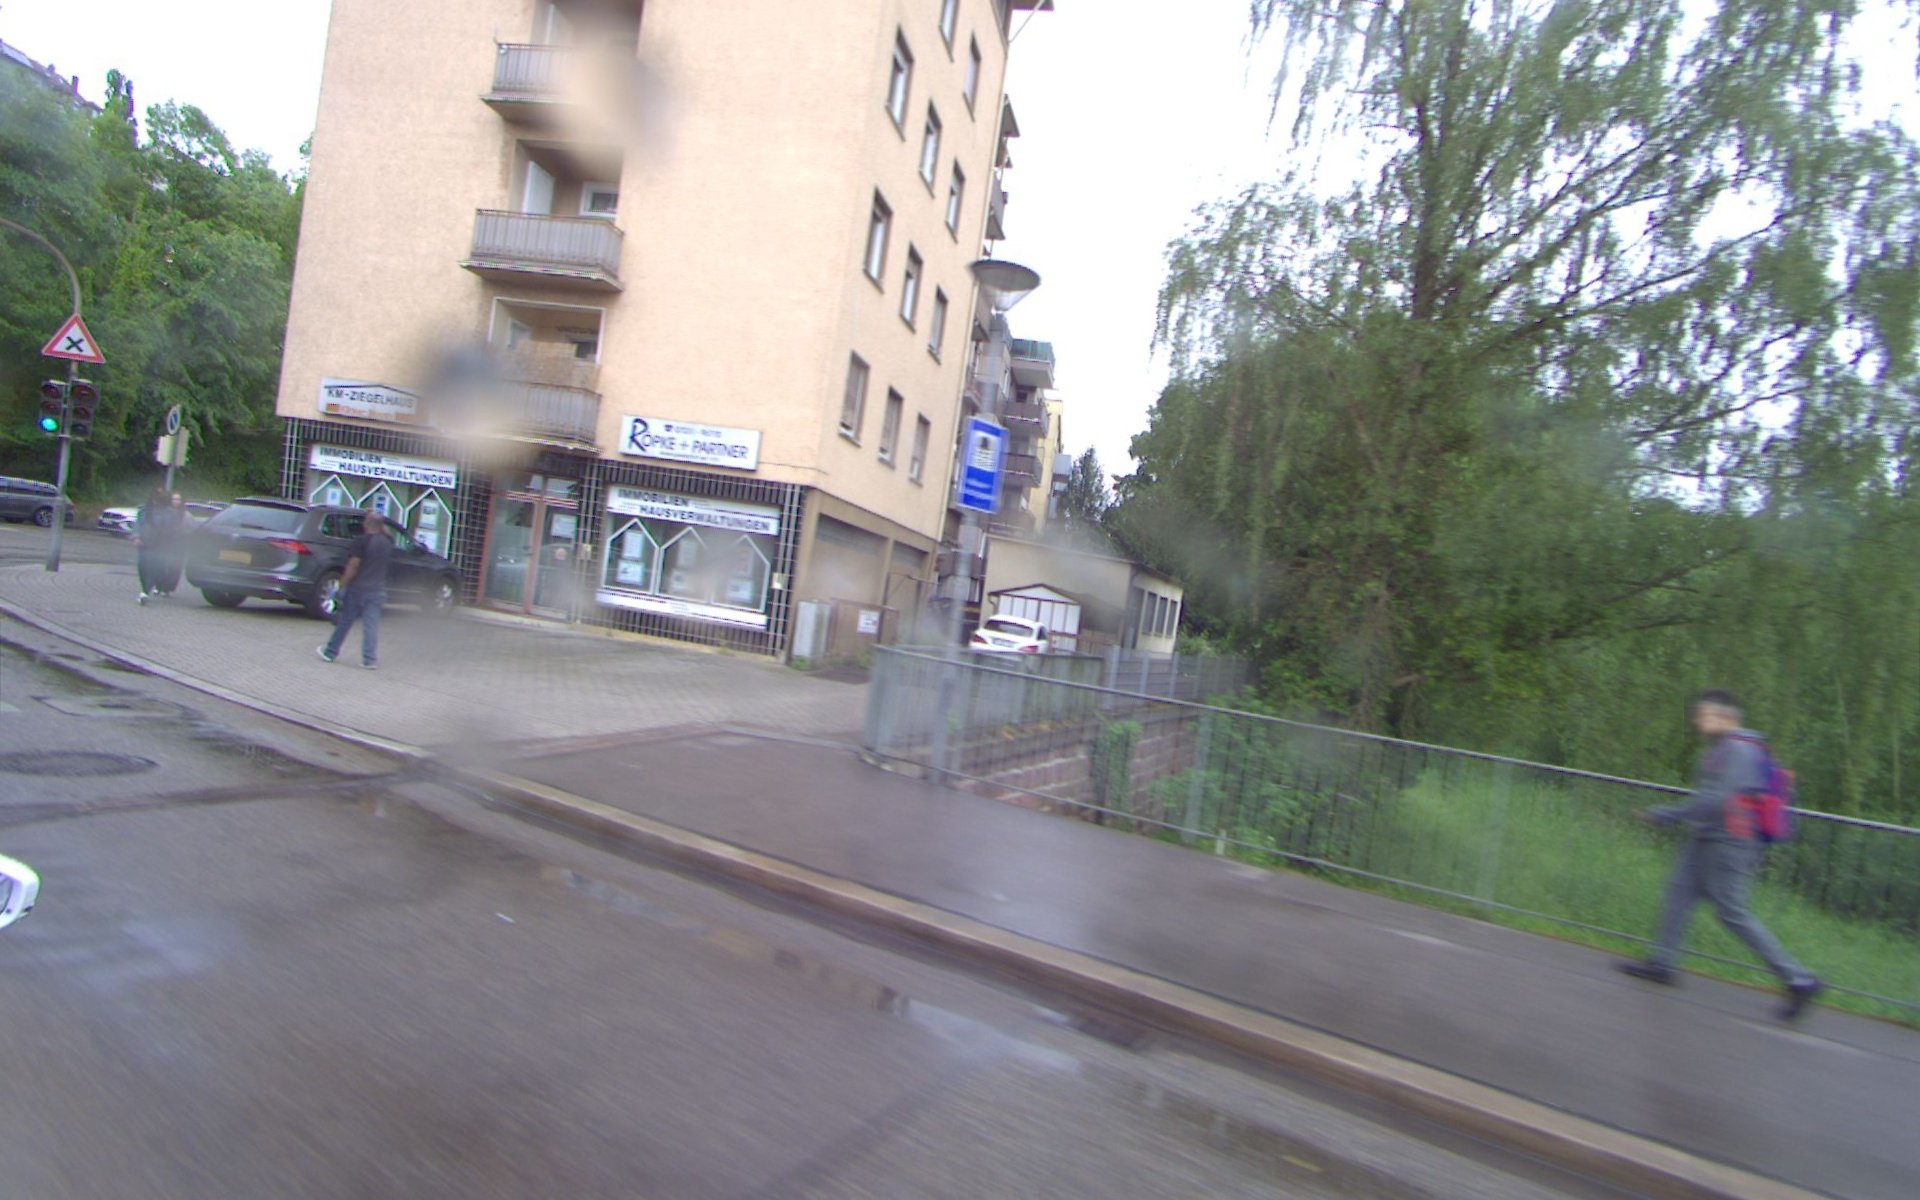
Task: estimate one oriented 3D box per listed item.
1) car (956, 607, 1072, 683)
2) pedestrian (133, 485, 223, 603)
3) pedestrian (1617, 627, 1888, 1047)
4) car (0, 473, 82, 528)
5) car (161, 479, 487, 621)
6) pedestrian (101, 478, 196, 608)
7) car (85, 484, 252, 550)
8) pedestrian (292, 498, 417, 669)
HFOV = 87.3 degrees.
[{"bbox_3d":[1.449,1.095,24.921,1.783,1.393,4.455,10,1,15],"label":"car"},{"bbox_3d":[-11.471,-0.821,14.778,0.753,1.596,0.776,6,3,-23],"label":"pedestrian"},{"bbox_3d":[3.942,1.113,5.099,0.768,1.832,0.762,9,2,31],"label":"pedestrian"},{"bbox_3d":[-31.693,-3.419,32.707,1.848,1.521,4.337,8,1,20],"label":"car"},{"bbox_3d":[-9.554,-0.664,15.649,1.848,1.670,4.381,7,1,6],"label":"car"},{"bbox_3d":[-10.940,-0.760,13.560,0.782,1.621,0.658,8,3,29],"label":"pedestrian"},{"bbox_3d":[-27.273,-2.807,34.826,1.775,1.580,4.157,8,0,17],"label":"car"},{"bbox_3d":[-6.499,-0.171,10.804,0.768,1.699,0.761,9,3,31],"label":"pedestrian"}]
